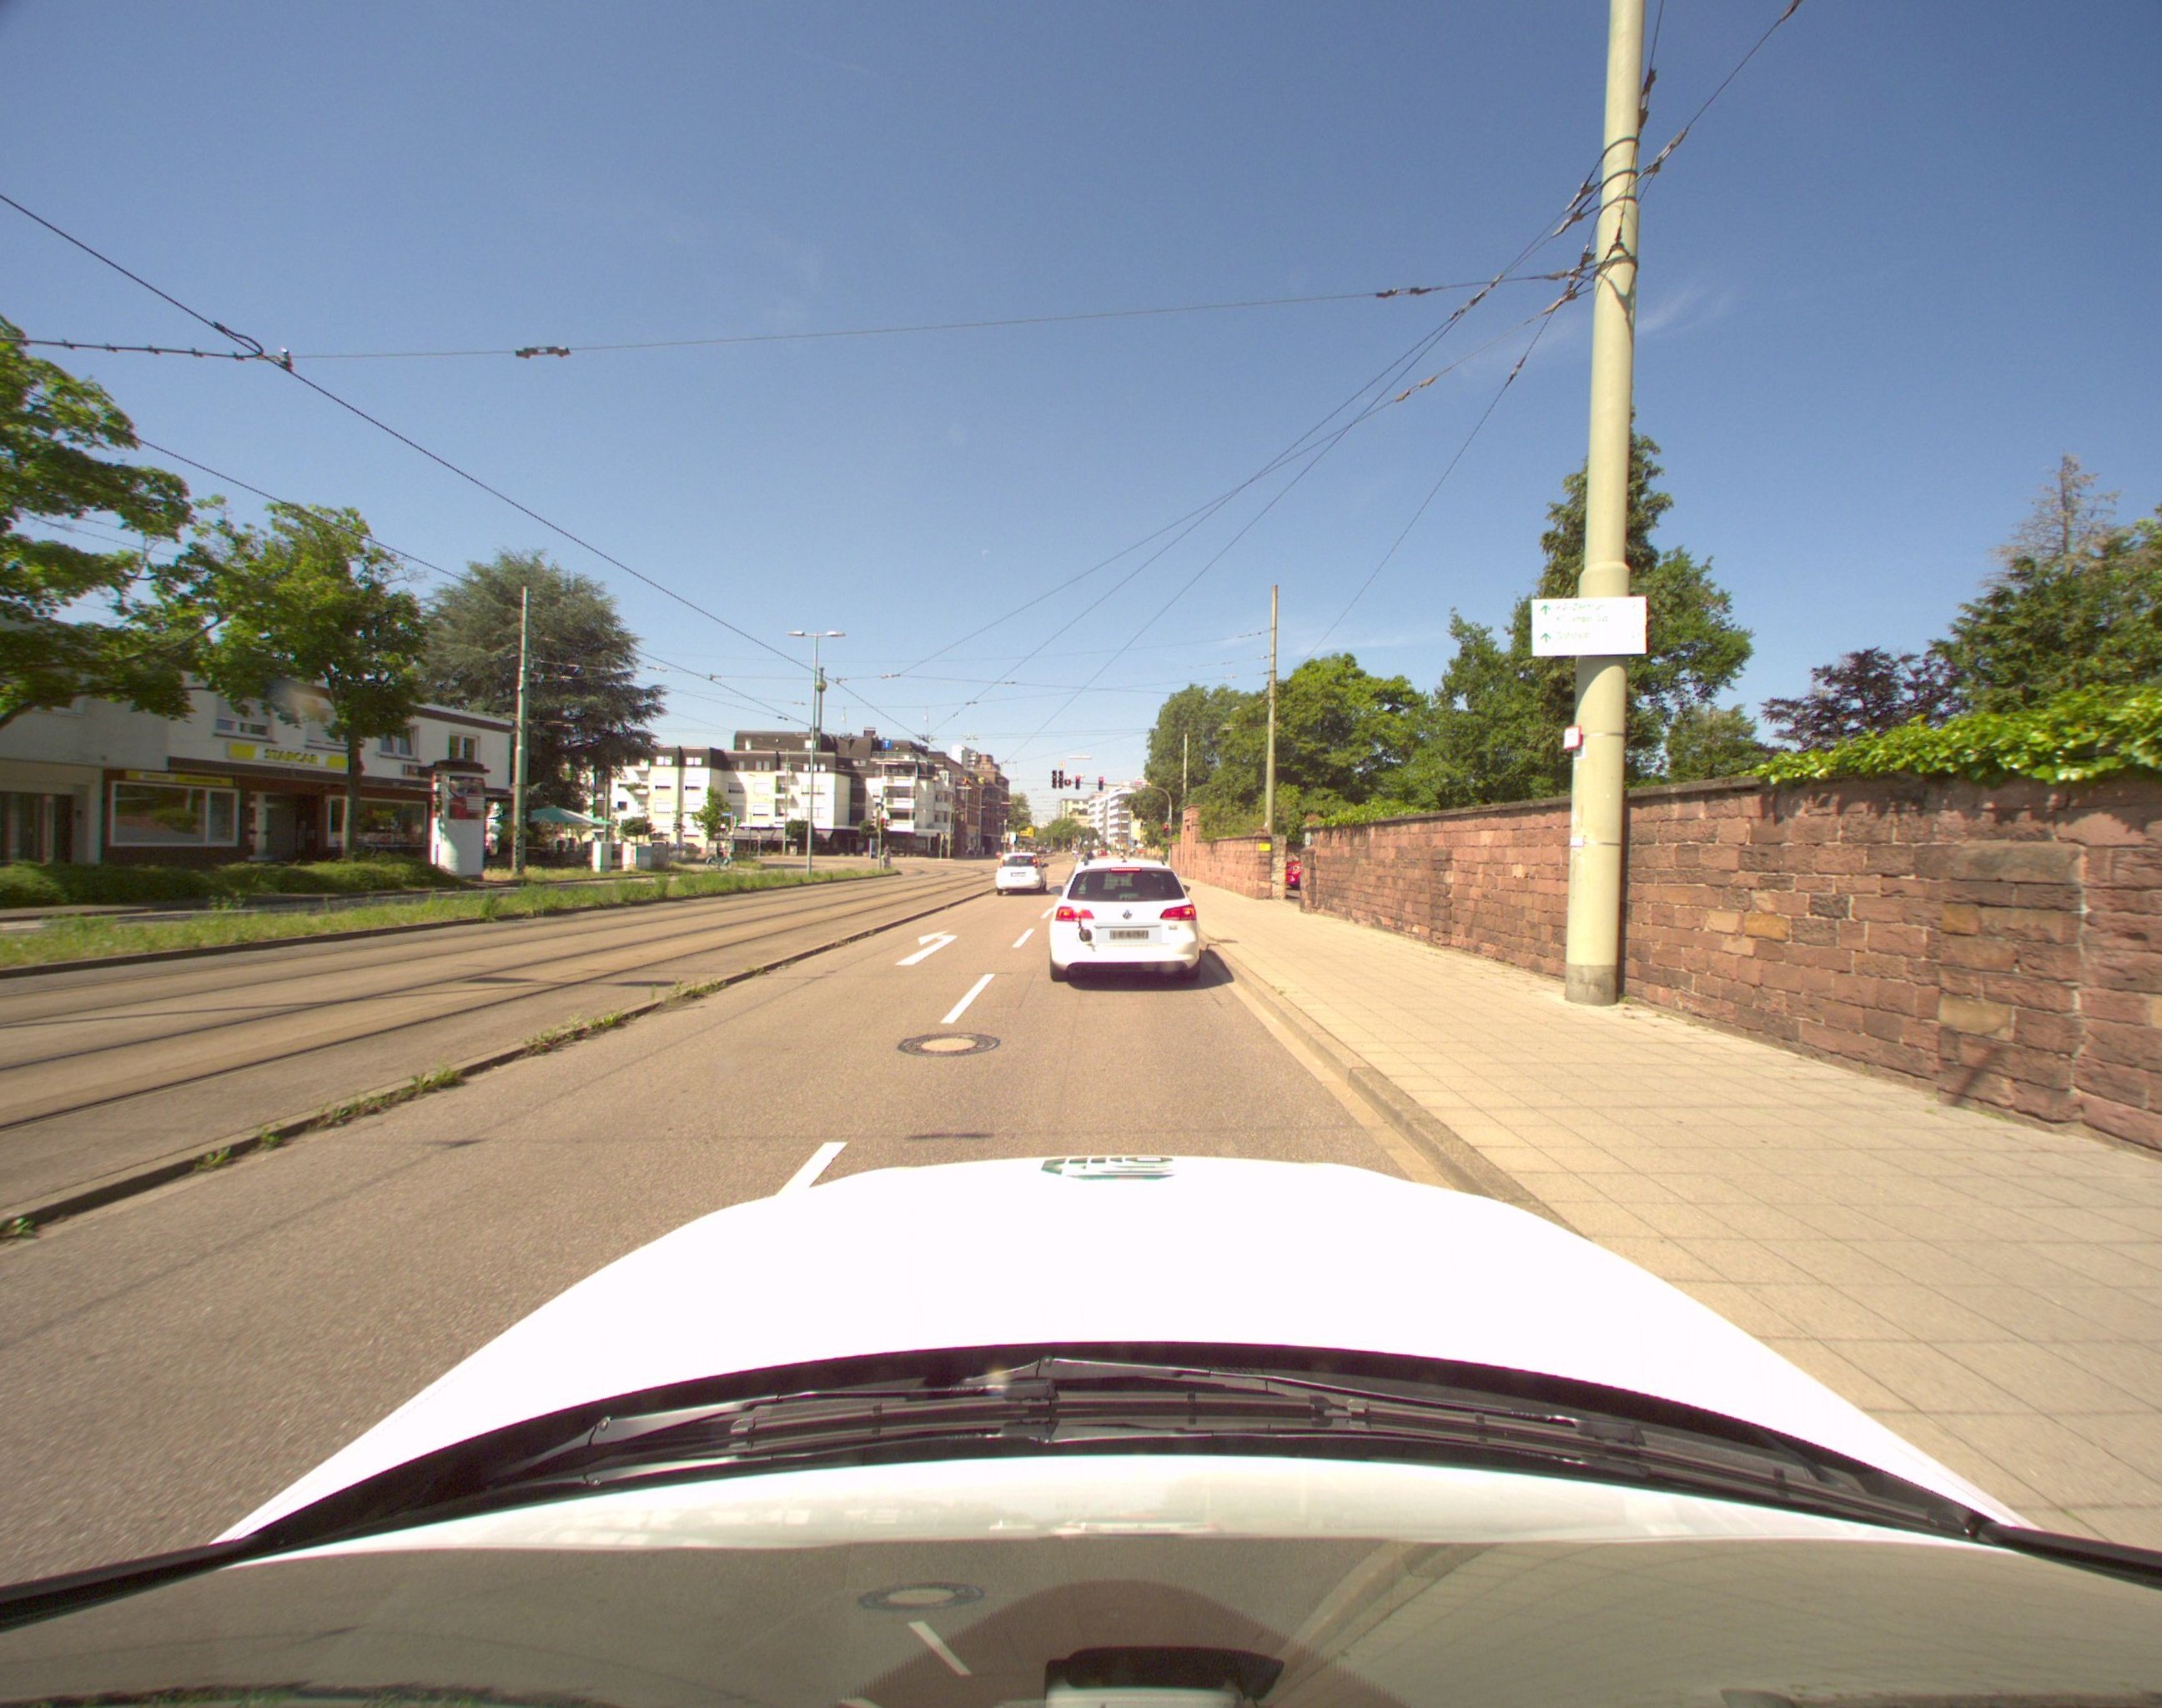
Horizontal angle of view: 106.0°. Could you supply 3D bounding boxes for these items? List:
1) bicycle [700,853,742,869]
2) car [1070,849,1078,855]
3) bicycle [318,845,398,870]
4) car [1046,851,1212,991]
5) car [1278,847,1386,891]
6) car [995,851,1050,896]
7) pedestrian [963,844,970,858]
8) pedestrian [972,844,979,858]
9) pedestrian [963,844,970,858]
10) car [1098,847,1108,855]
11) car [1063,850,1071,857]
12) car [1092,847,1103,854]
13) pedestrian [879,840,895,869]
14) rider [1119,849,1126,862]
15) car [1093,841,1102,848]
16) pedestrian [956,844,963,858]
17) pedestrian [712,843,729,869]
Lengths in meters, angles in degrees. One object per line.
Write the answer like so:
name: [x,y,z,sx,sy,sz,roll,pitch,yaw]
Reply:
bicycle: [-21.026,0.418,47.548,2.189,0.921,0.547,1,0,-42]
car: [-1.991,-0.529,233.621,1.698,1.591,3.524,1,0,-9]
bicycle: [-27.019,0.119,30.485,0.780,0.888,2.392,1,0,2]
car: [0.594,0.706,10.631,1.772,1.490,3.849,0,0,2]
car: [8.944,0.536,29.203,3.395,1.464,1.525,1,0,1]
car: [-2.190,0.693,31.203,1.724,1.596,4.012,1,0,1]
pedestrian: [-16.834,-0.432,119.603,0.935,2.013,0.989,1,0,-4]
pedestrian: [-15.811,-0.425,122.221,0.935,2.013,0.989,1,0,-4]
pedestrian: [-16.396,-0.411,116.536,0.935,2.013,0.989,1,0,-4]
car: [6.048,-0.889,226.795,1.995,2.013,3.984,1,0,-12]
car: [-3.397,-0.161,200.170,1.692,1.591,3.535,1,0,1]
car: [4.356,-0.989,218.281,1.995,1.903,3.984,1,0,-12]
pedestrian: [-11.815,0.048,49.687,0.825,1.738,0.930,1,0,-6]
rider: [5.710,0.163,111.885,0.887,1.728,2.205,1,0,2]
car: [4.925,-2.853,241.186,1.995,2.013,3.984,1,0,-12]
pedestrian: [-17.729,-0.442,118.635,0.934,2.013,0.990,1,0,-3]
pedestrian: [-21.283,0.126,48.074,0.820,1.487,0.559,1,0,-42]
